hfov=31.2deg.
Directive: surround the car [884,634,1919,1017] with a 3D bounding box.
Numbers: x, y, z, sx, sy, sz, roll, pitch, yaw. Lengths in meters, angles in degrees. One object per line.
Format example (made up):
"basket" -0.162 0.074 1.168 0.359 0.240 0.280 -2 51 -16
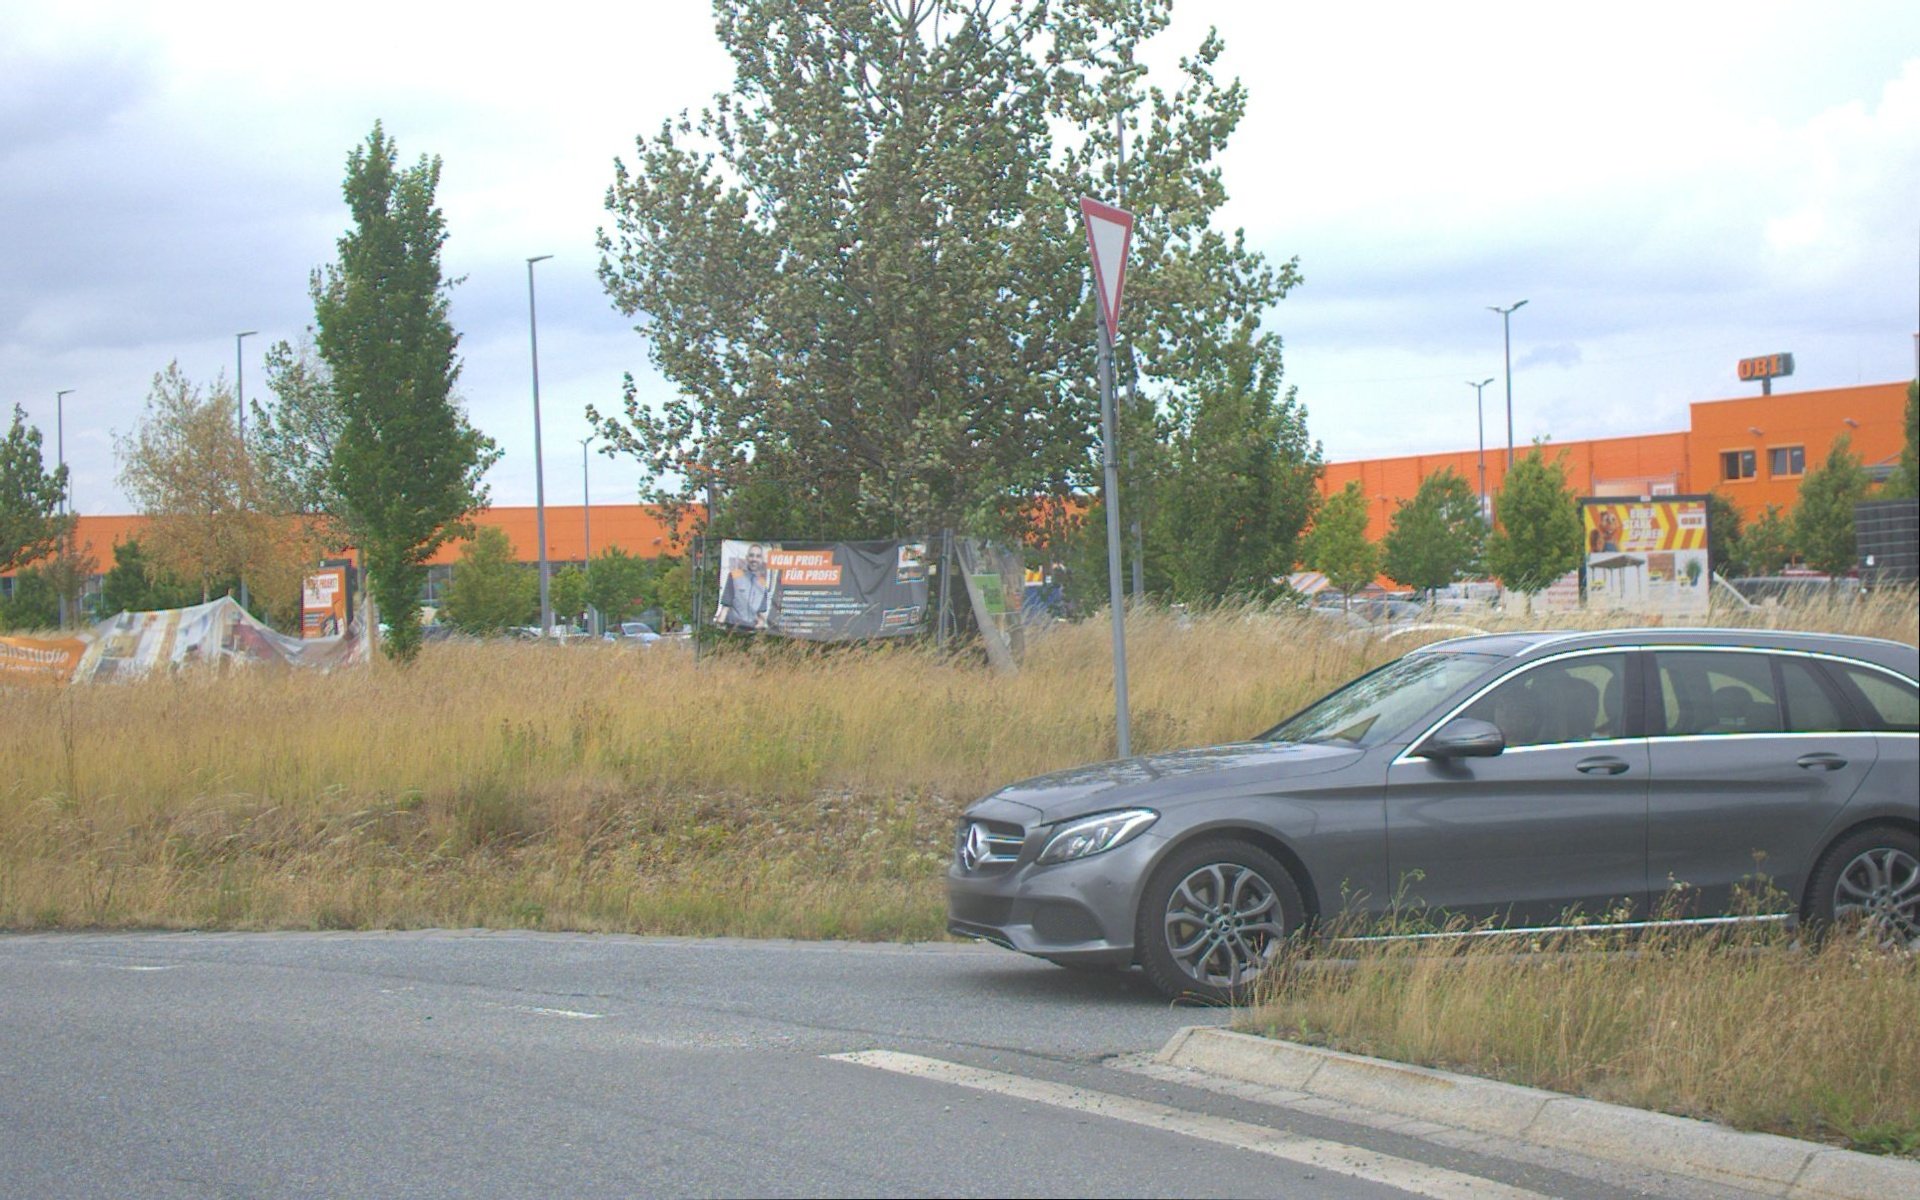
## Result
"car" 2.199 0.850 14.349 4.671 1.399 1.929 0 0 -17
